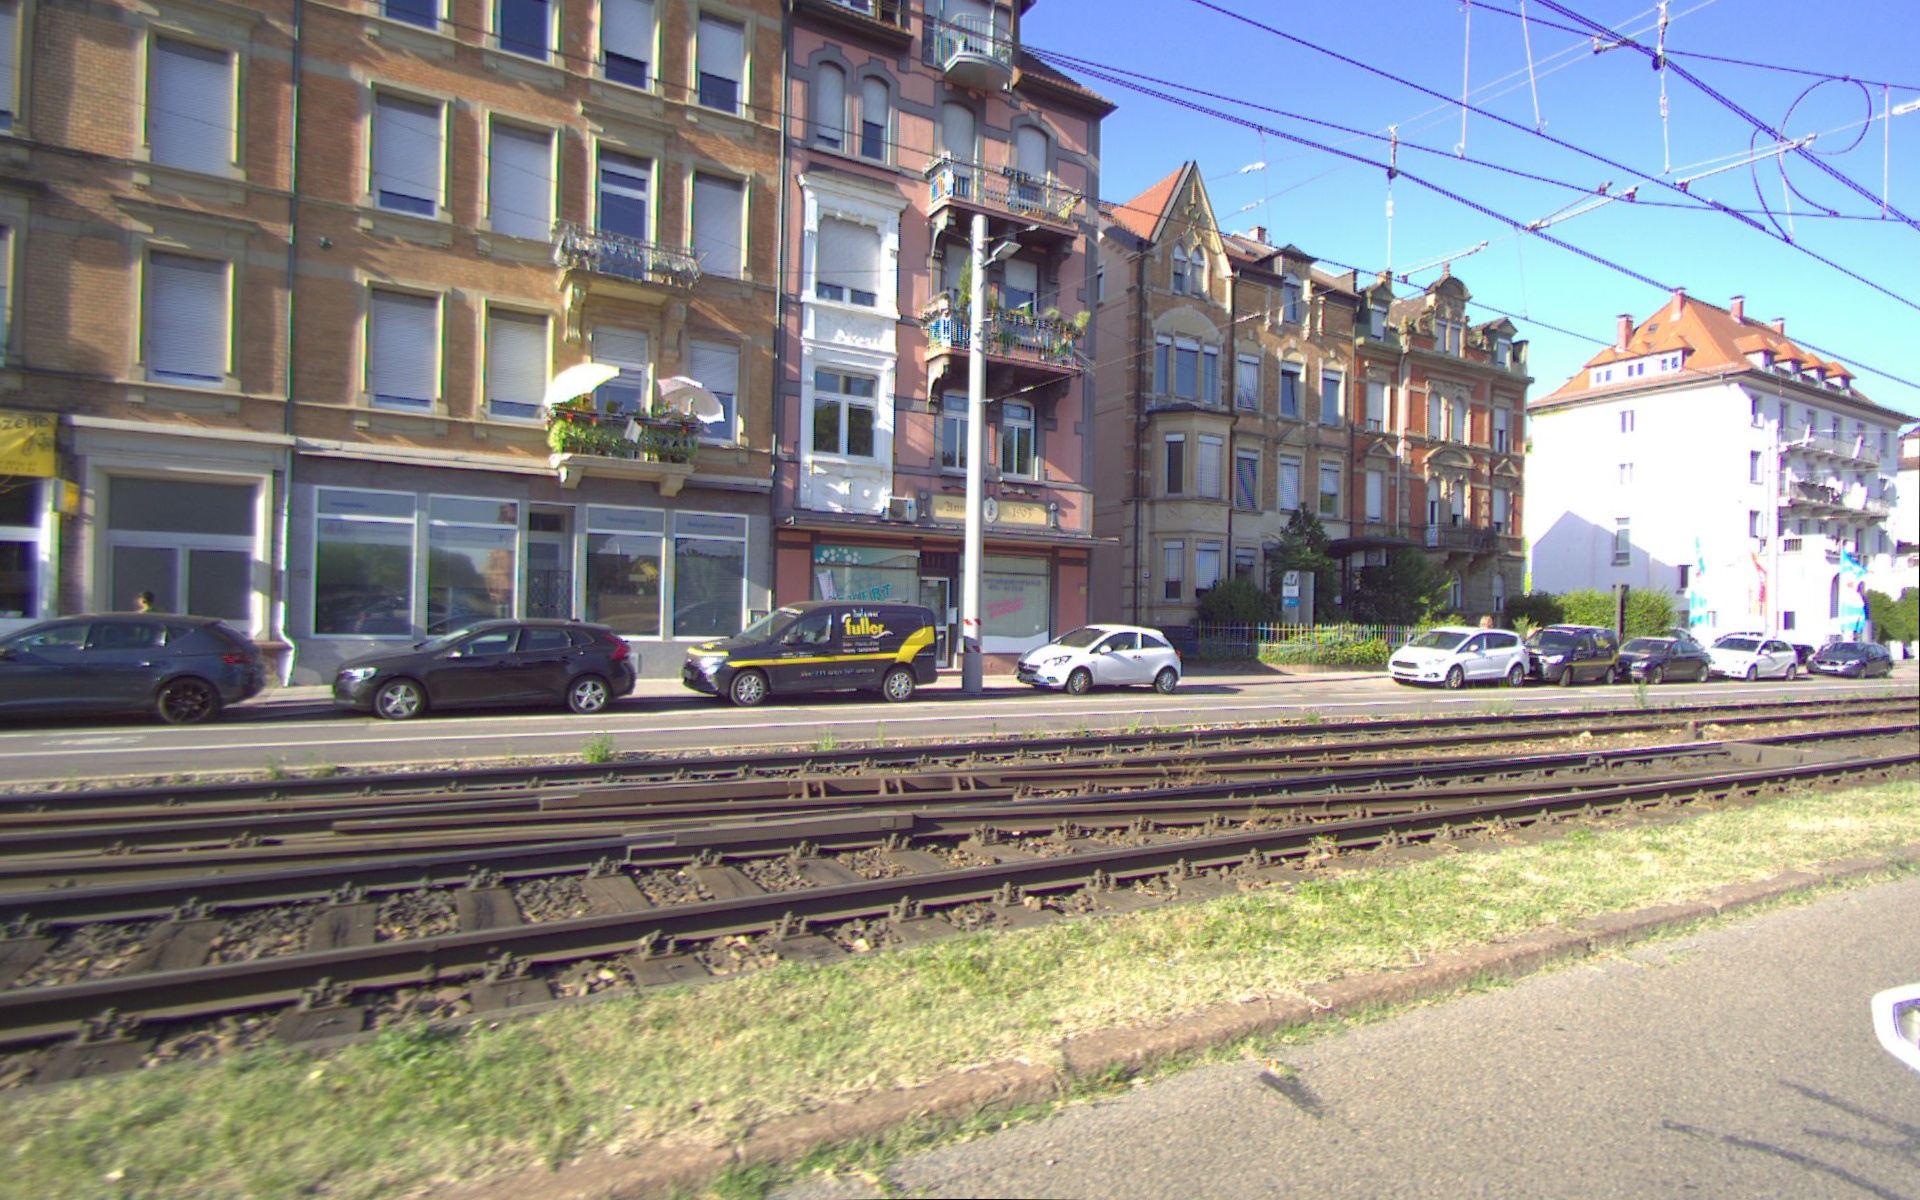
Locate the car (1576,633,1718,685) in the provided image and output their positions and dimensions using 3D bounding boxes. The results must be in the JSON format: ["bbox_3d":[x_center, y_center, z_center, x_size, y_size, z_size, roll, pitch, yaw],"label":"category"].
[{"bbox_3d":[23.210,1.972,33.931,4.780,1.581,1.913,2,0,-28],"label":"car"}]

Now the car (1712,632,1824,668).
[{"bbox_3d":[41.413,2.520,51.590,1.921,1.655,4.124,0,-1,-19],"label":"car"}]

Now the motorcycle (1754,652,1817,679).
[{"bbox_3d":[32.611,2.583,39.692,2.116,0.967,0.826,3,0,-16],"label":"motorcycle"}]

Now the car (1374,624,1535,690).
[{"bbox_3d":[14.322,1.615,29.035,4.572,1.706,1.912,2,0,-30],"label":"car"}]

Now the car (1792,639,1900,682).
[{"bbox_3d":[36.661,2.457,41.536,4.787,1.480,1.910,2,4,-31],"label":"car"}]

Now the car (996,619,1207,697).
[{"bbox_3d":[3.269,1.295,22.913,4.574,1.559,1.911,2,0,-31],"label":"car"}]

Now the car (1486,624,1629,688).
[{"bbox_3d":[18.697,1.727,31.388,4.445,1.804,1.911,2,0,-30],"label":"car"}]

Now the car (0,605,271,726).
[{"bbox_3d":[-11.871,0.852,13.669,3.933,1.465,1.652,2,0,-30],"label":"car"}]

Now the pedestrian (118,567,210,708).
[{"bbox_3d":[-12.038,0.553,15.202,0.625,2.040,0.876,3,0,31],"label":"pedestrian"}]

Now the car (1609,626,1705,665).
[{"bbox_3d":[33.821,2.194,48.711,4.502,1.677,1.898,4,-3,-26],"label":"car"}]

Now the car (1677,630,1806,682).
[{"bbox_3d":[28.839,2.054,37.047,4.780,1.717,1.913,2,0,-28],"label":"car"}]

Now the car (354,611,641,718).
[{"bbox_3d":[-7.279,0.983,15.966,3.933,1.465,1.652,2,0,-30],"label":"car"}]

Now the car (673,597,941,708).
[{"bbox_3d":[-2.801,0.951,18.839,4.675,1.831,1.651,2,0,-31],"label":"car"}]
